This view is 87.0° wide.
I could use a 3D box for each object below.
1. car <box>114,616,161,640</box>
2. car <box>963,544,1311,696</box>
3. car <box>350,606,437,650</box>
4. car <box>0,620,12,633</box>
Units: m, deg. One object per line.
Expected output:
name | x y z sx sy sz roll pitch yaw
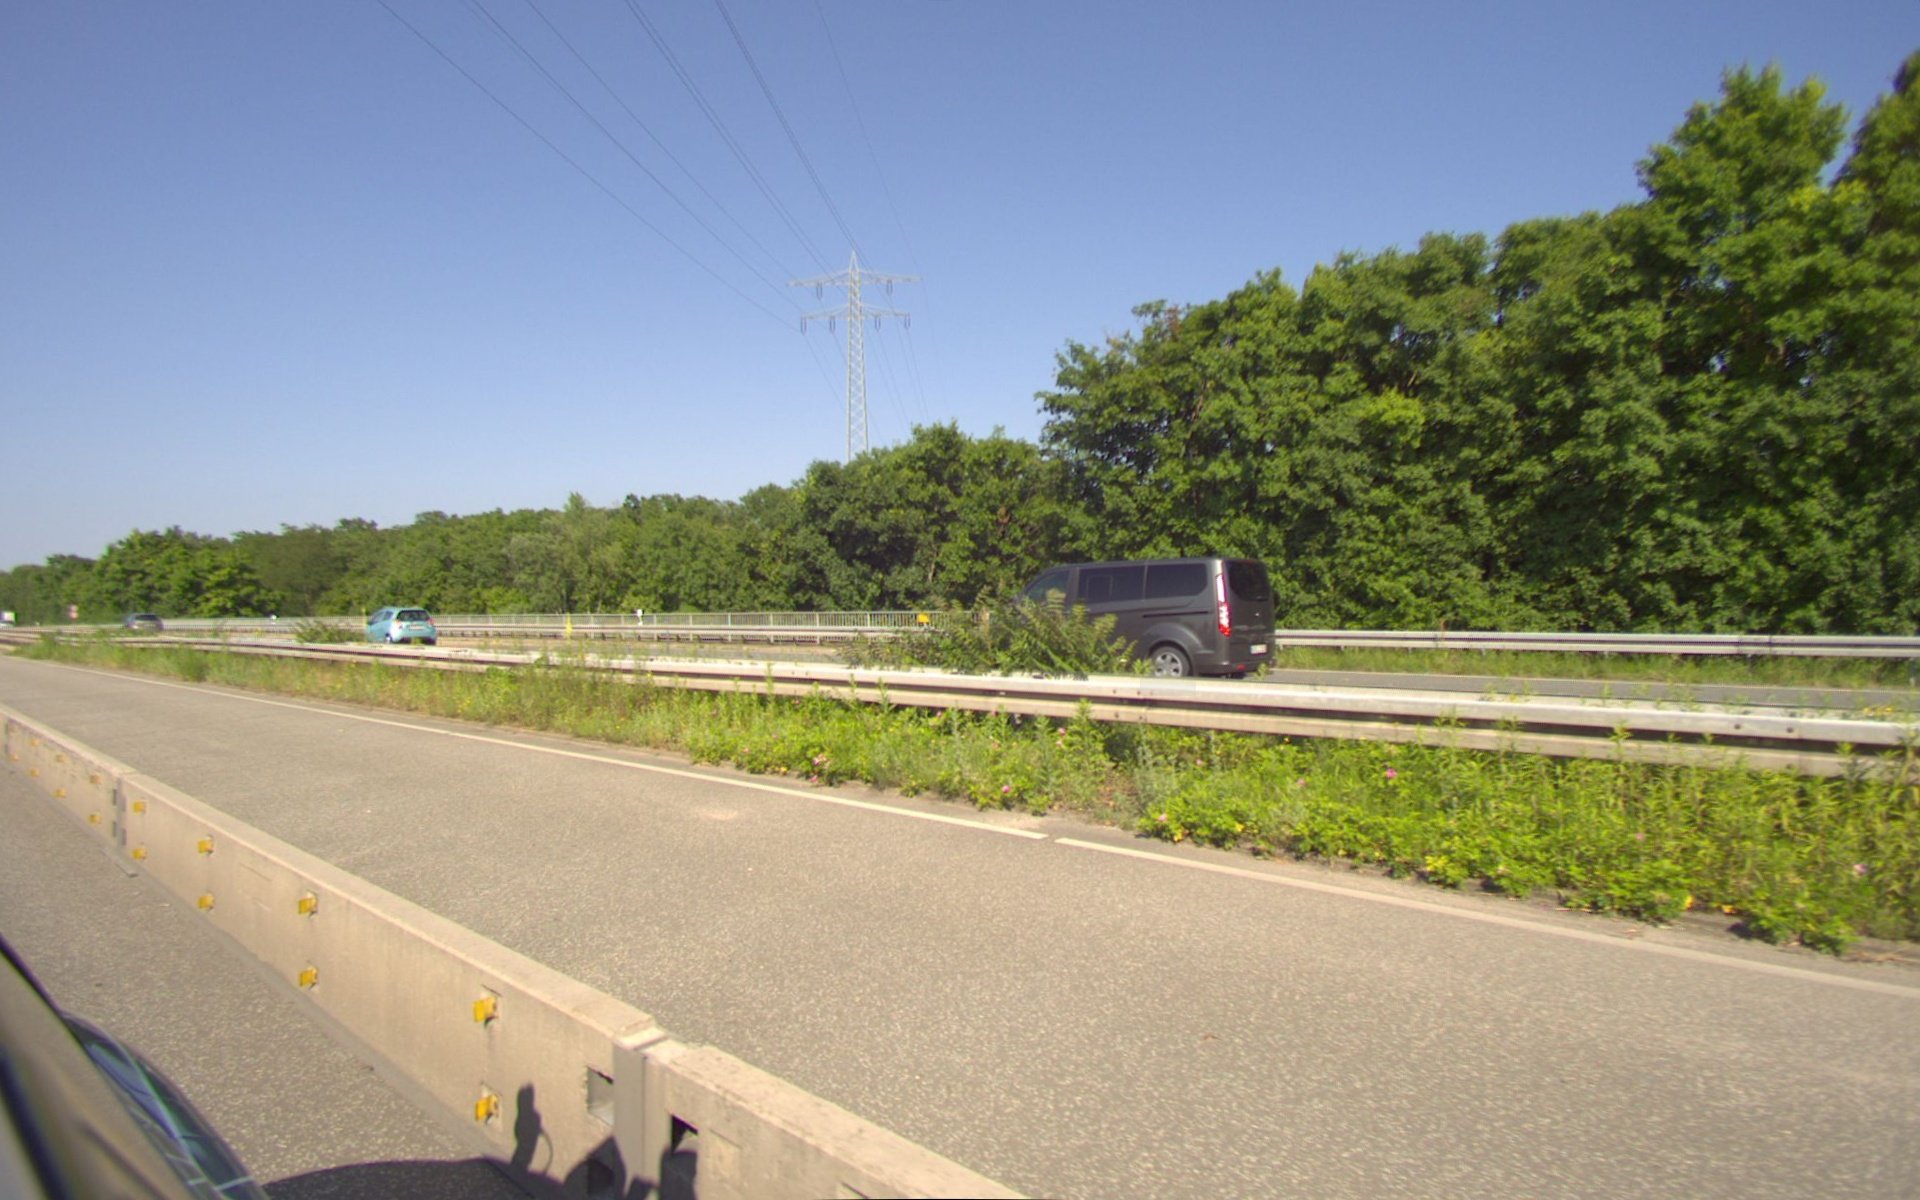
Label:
car | -55.429 1.849 68.193 4.421 1.595 1.744 -1 -1 42
car | 2.651 0.324 16.074 5.164 2.050 1.973 -1 -1 40
car | -21.000 1.034 37.459 3.816 1.543 1.629 -1 -1 41
car | -111.635 3.111 117.589 4.124 1.403 1.759 -1 0 41
